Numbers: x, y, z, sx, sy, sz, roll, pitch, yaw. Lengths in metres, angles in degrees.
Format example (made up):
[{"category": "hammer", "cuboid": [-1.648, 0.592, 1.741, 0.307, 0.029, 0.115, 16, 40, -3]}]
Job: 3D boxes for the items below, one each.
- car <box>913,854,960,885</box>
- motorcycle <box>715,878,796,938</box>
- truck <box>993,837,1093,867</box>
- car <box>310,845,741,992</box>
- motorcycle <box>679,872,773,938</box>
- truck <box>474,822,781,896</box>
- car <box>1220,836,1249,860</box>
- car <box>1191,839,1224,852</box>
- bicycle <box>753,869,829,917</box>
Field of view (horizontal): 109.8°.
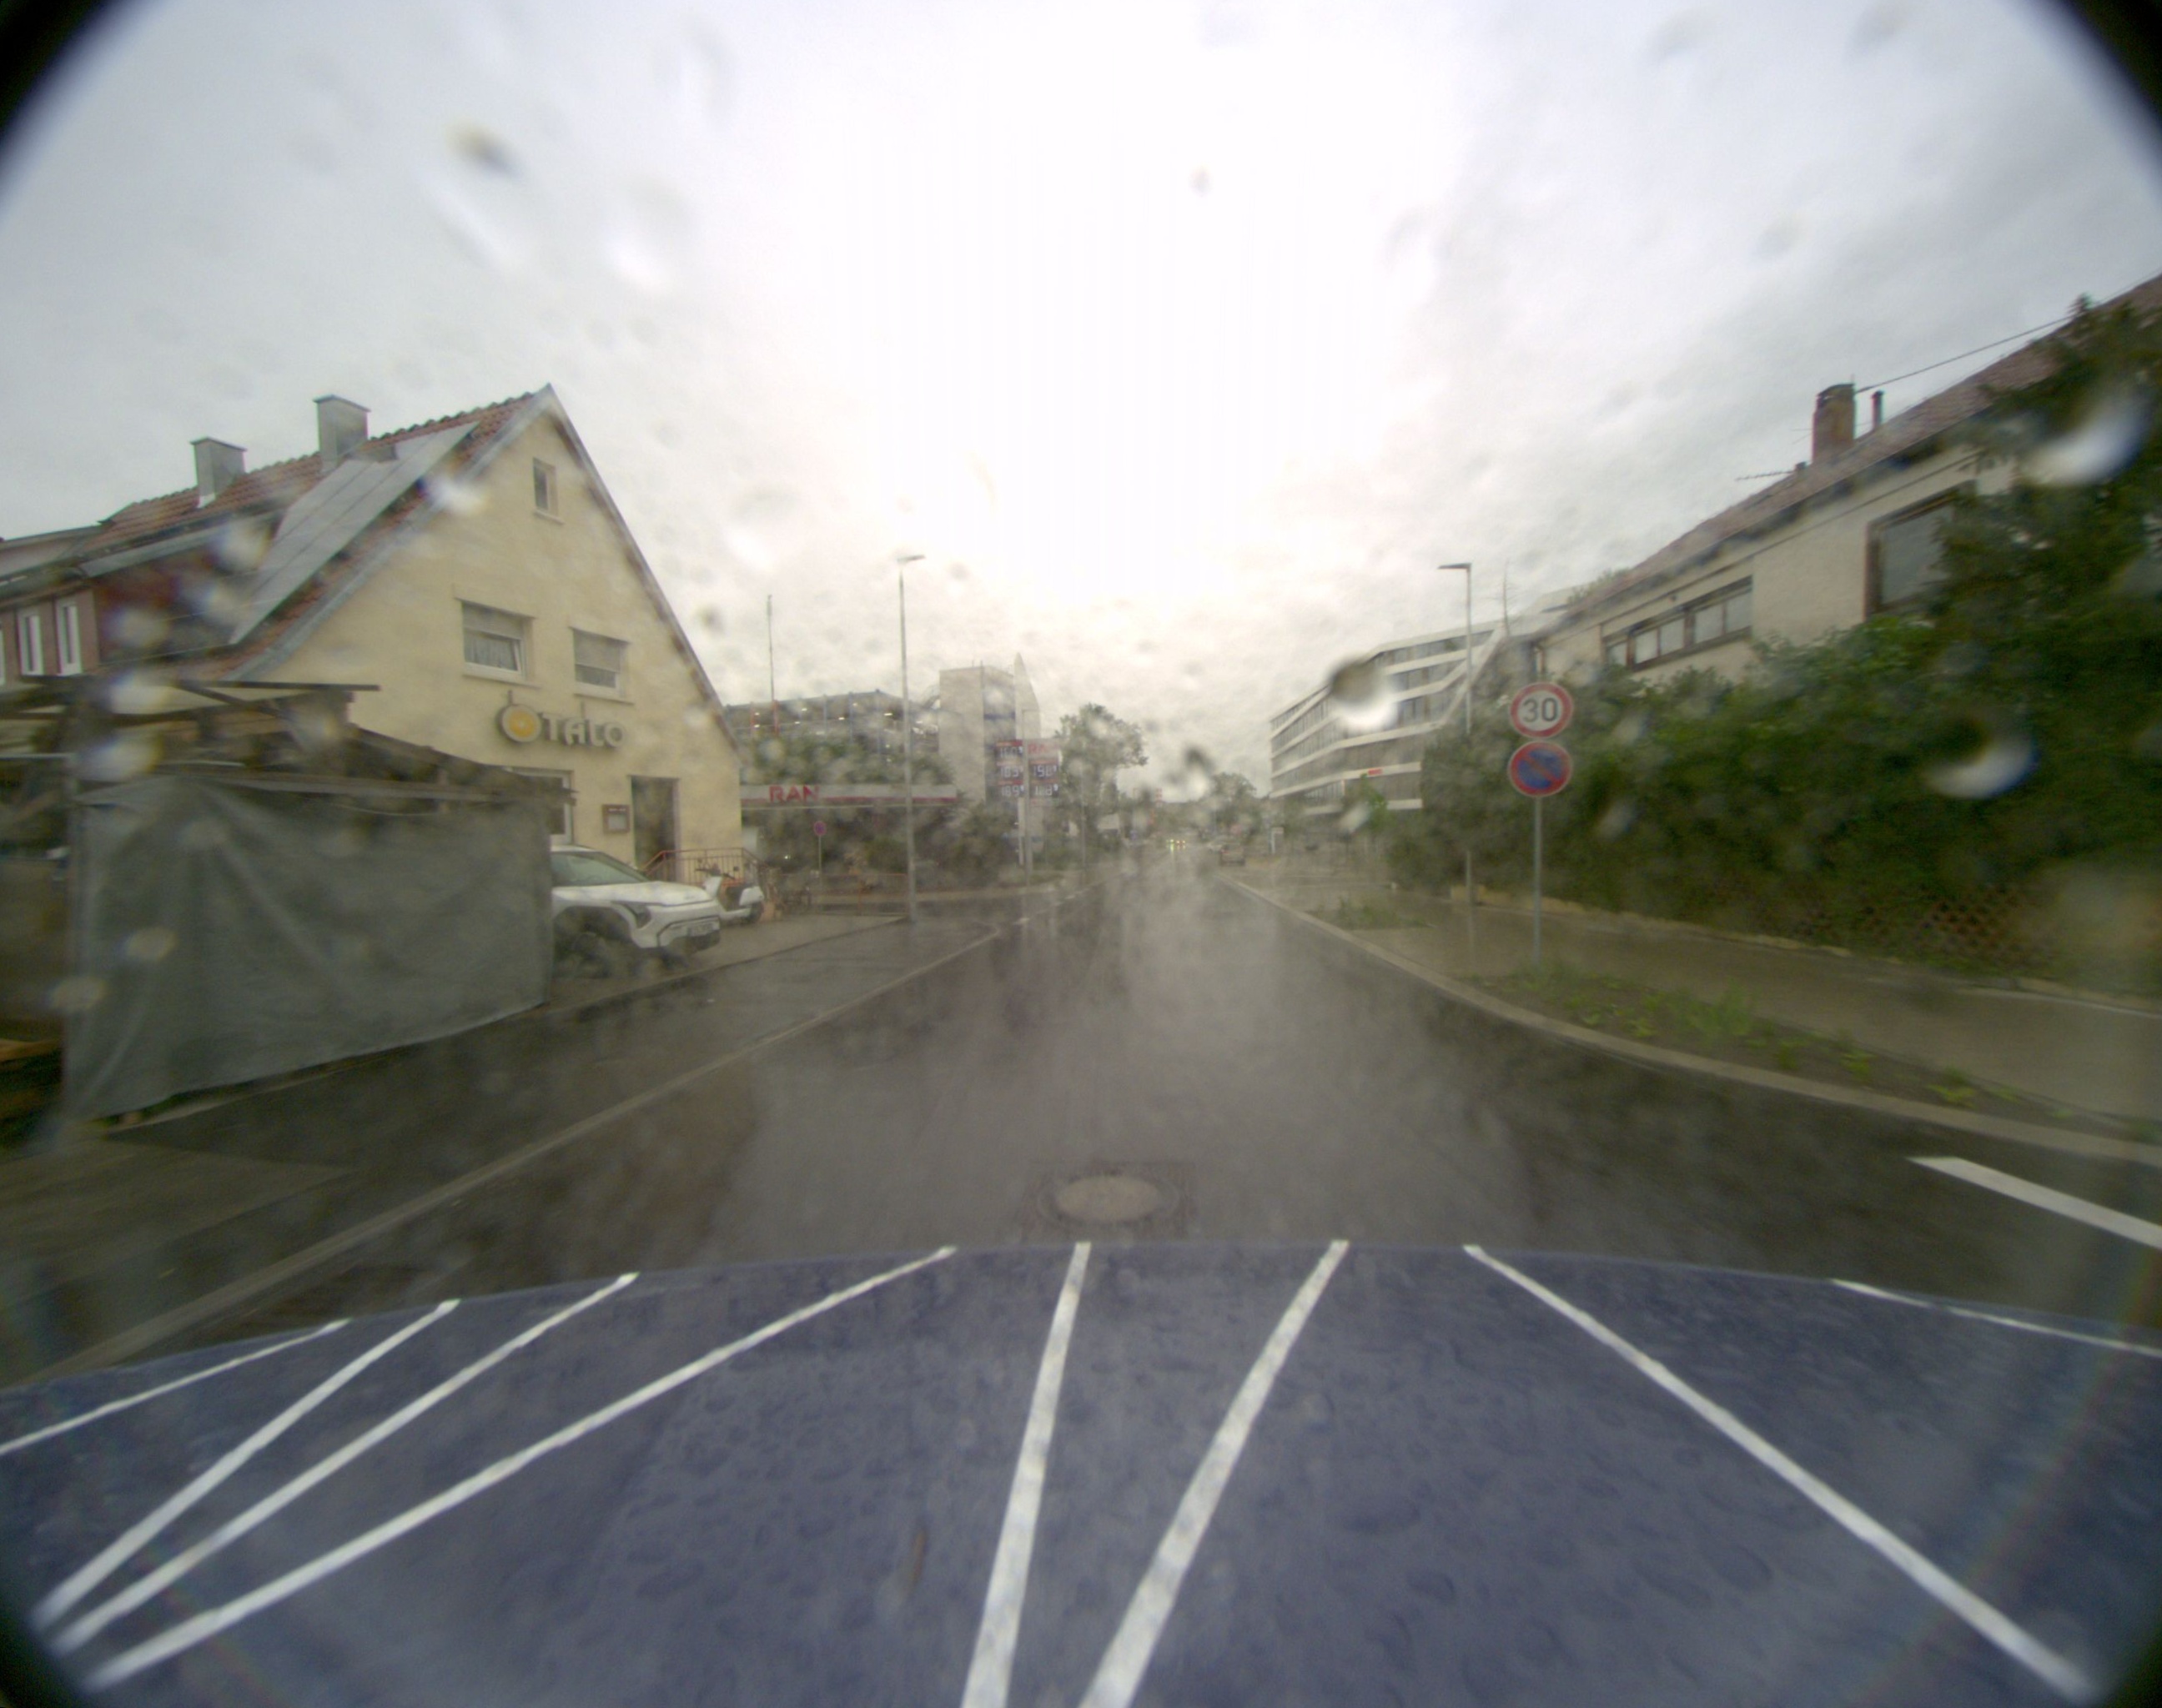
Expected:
[{"category": "car", "cuboid": [-7.181, 0.715, 38.093, 1.693, 1.332, 4.338, -2, 1, -3]}, {"category": "motorcycle", "cuboid": [-8.224, 1.359, 19.191, 2.035, 1.448, 0.490, -2, 2, 20]}, {"category": "truck", "cuboid": [-2.782, -0.108, 56.583, 7.293, 2.193, 2.086, 0, -1, 1]}, {"category": "car", "cuboid": [-6.885, 0.725, 9.721, 4.225, 1.601, 1.861, 0, 2, 5]}, {"category": "motorcycle", "cuboid": [-6.683, 0.935, 14.423, 0.488, 1.089, 2.002, -2, 0, 11]}, {"category": "truck", "cuboid": [-24.468, 0.238, 41.798, 14.413, 3.339, 2.646, -2, -1, -9]}, {"category": "car", "cuboid": [11.452, -0.461, 56.879, 1.840, 1.696, 4.325, -2, 1, 9]}, {"category": "car", "cuboid": [17.057, -1.179, 102.288, 4.164, 1.411, 2.001, -3, 1, 12]}, {"category": "bicycle", "cuboid": [-6.832, 0.926, 17.886, 1.772, 1.089, 0.490, -2, 1, 21]}]
